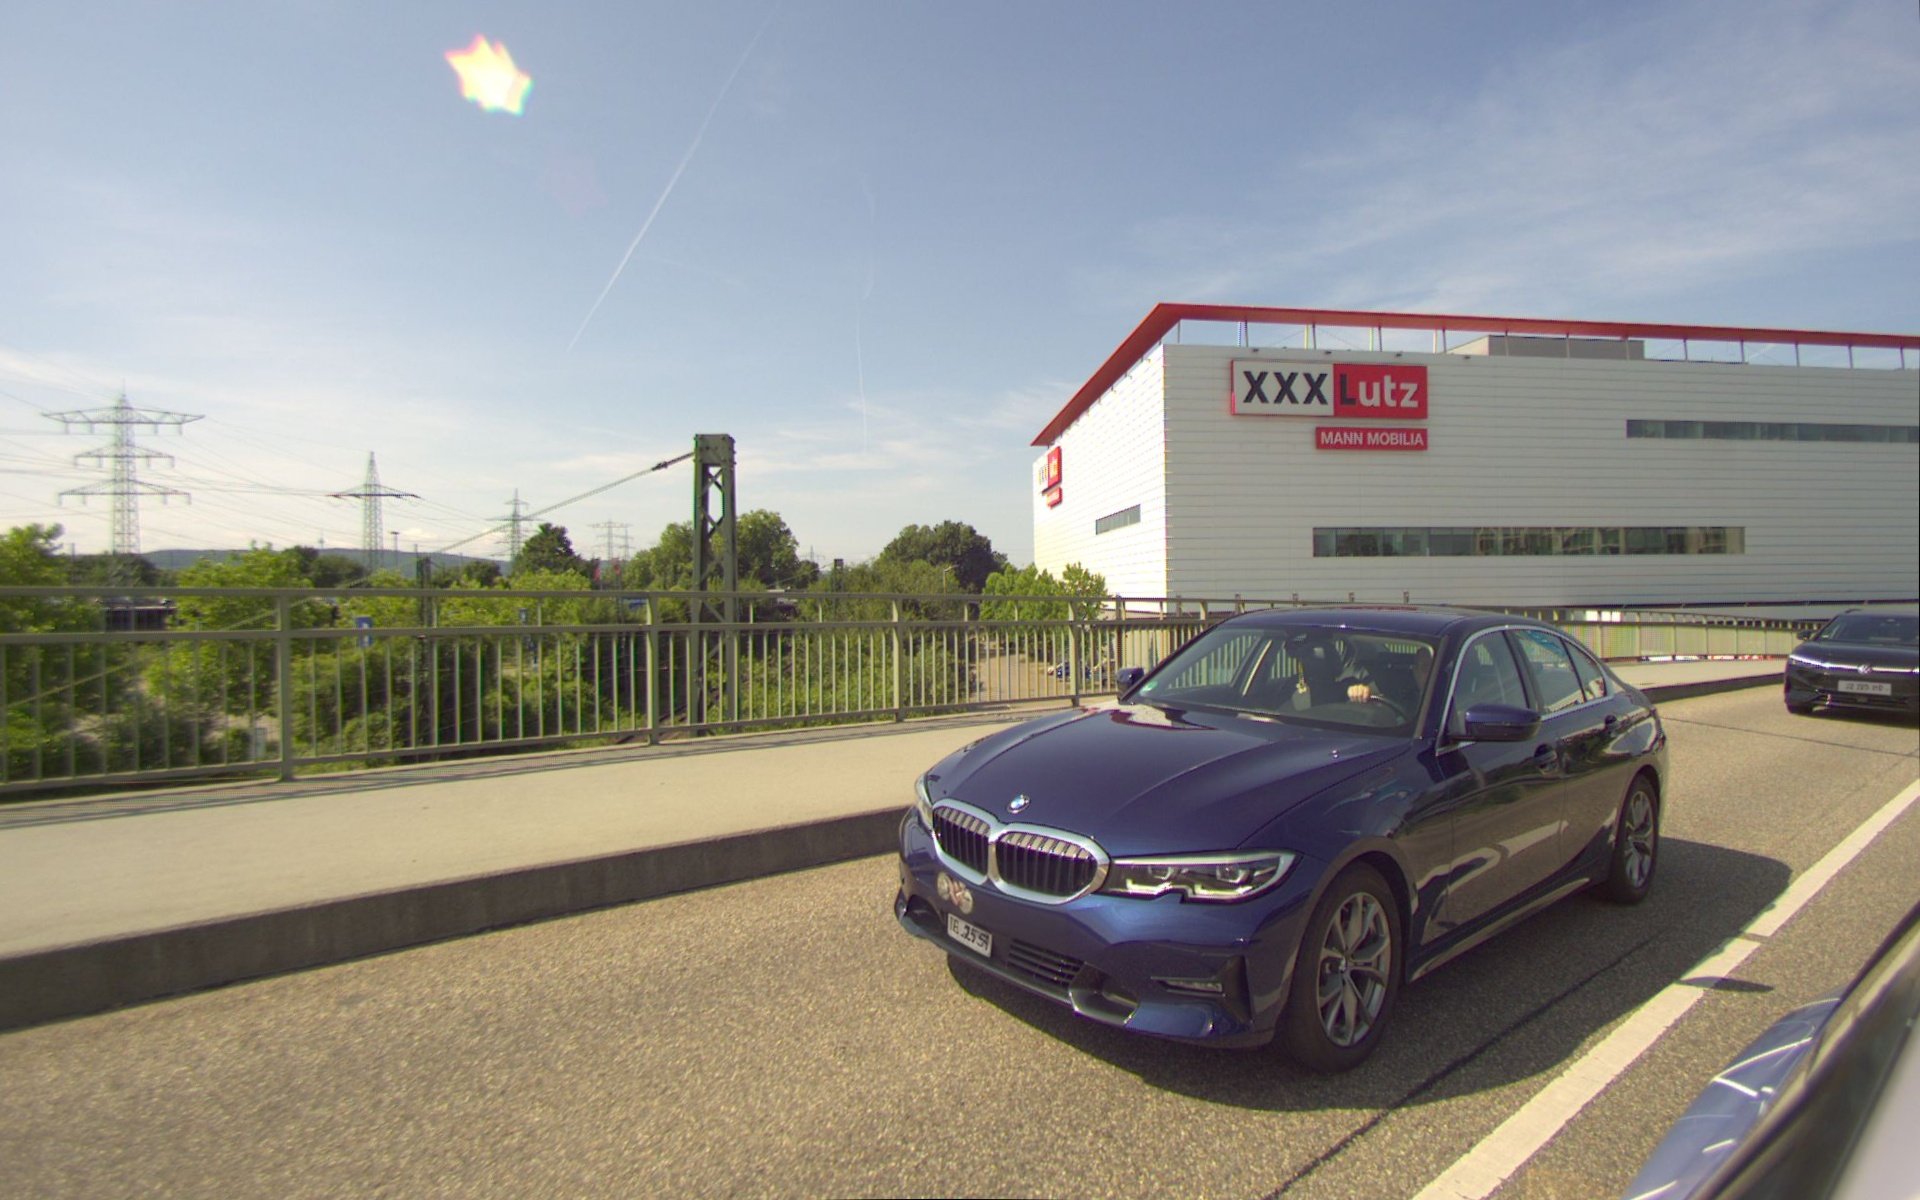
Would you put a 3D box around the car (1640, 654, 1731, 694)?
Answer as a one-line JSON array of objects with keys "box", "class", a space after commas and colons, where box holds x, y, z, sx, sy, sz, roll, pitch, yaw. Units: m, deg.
[{"box": [57.418, 5.802, 80.236, 2.088, 2.654, 6.022, -1, 0, -11], "class": "car"}]

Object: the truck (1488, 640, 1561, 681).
[{"box": [46.758, 4.953, 84.010, 2.089, 2.964, 6.020, -1, 0, -8], "class": "truck"}]

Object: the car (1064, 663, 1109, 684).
[{"box": [11.404, 6.596, 91.324, 3.749, 1.658, 1.809, -1, 1, -4], "class": "car"}]

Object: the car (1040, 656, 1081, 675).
[{"box": [9.897, 6.439, 99.875, 3.749, 1.658, 1.809, -1, 1, -4], "class": "car"}]

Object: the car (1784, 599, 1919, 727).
[{"box": [13.415, 0.794, 14.345, 4.069, 1.548, 1.860, -1, 0, -39], "class": "car"}]

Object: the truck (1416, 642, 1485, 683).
[{"box": [40.015, 5.047, 82.766, 2.089, 2.964, 6.020, -1, 0, -8], "class": "truck"}]

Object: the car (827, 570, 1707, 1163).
[{"box": [1.751, 0.636, 4.703, 4.440, 1.502, 1.791, -2, 1, -40], "class": "car"}]
